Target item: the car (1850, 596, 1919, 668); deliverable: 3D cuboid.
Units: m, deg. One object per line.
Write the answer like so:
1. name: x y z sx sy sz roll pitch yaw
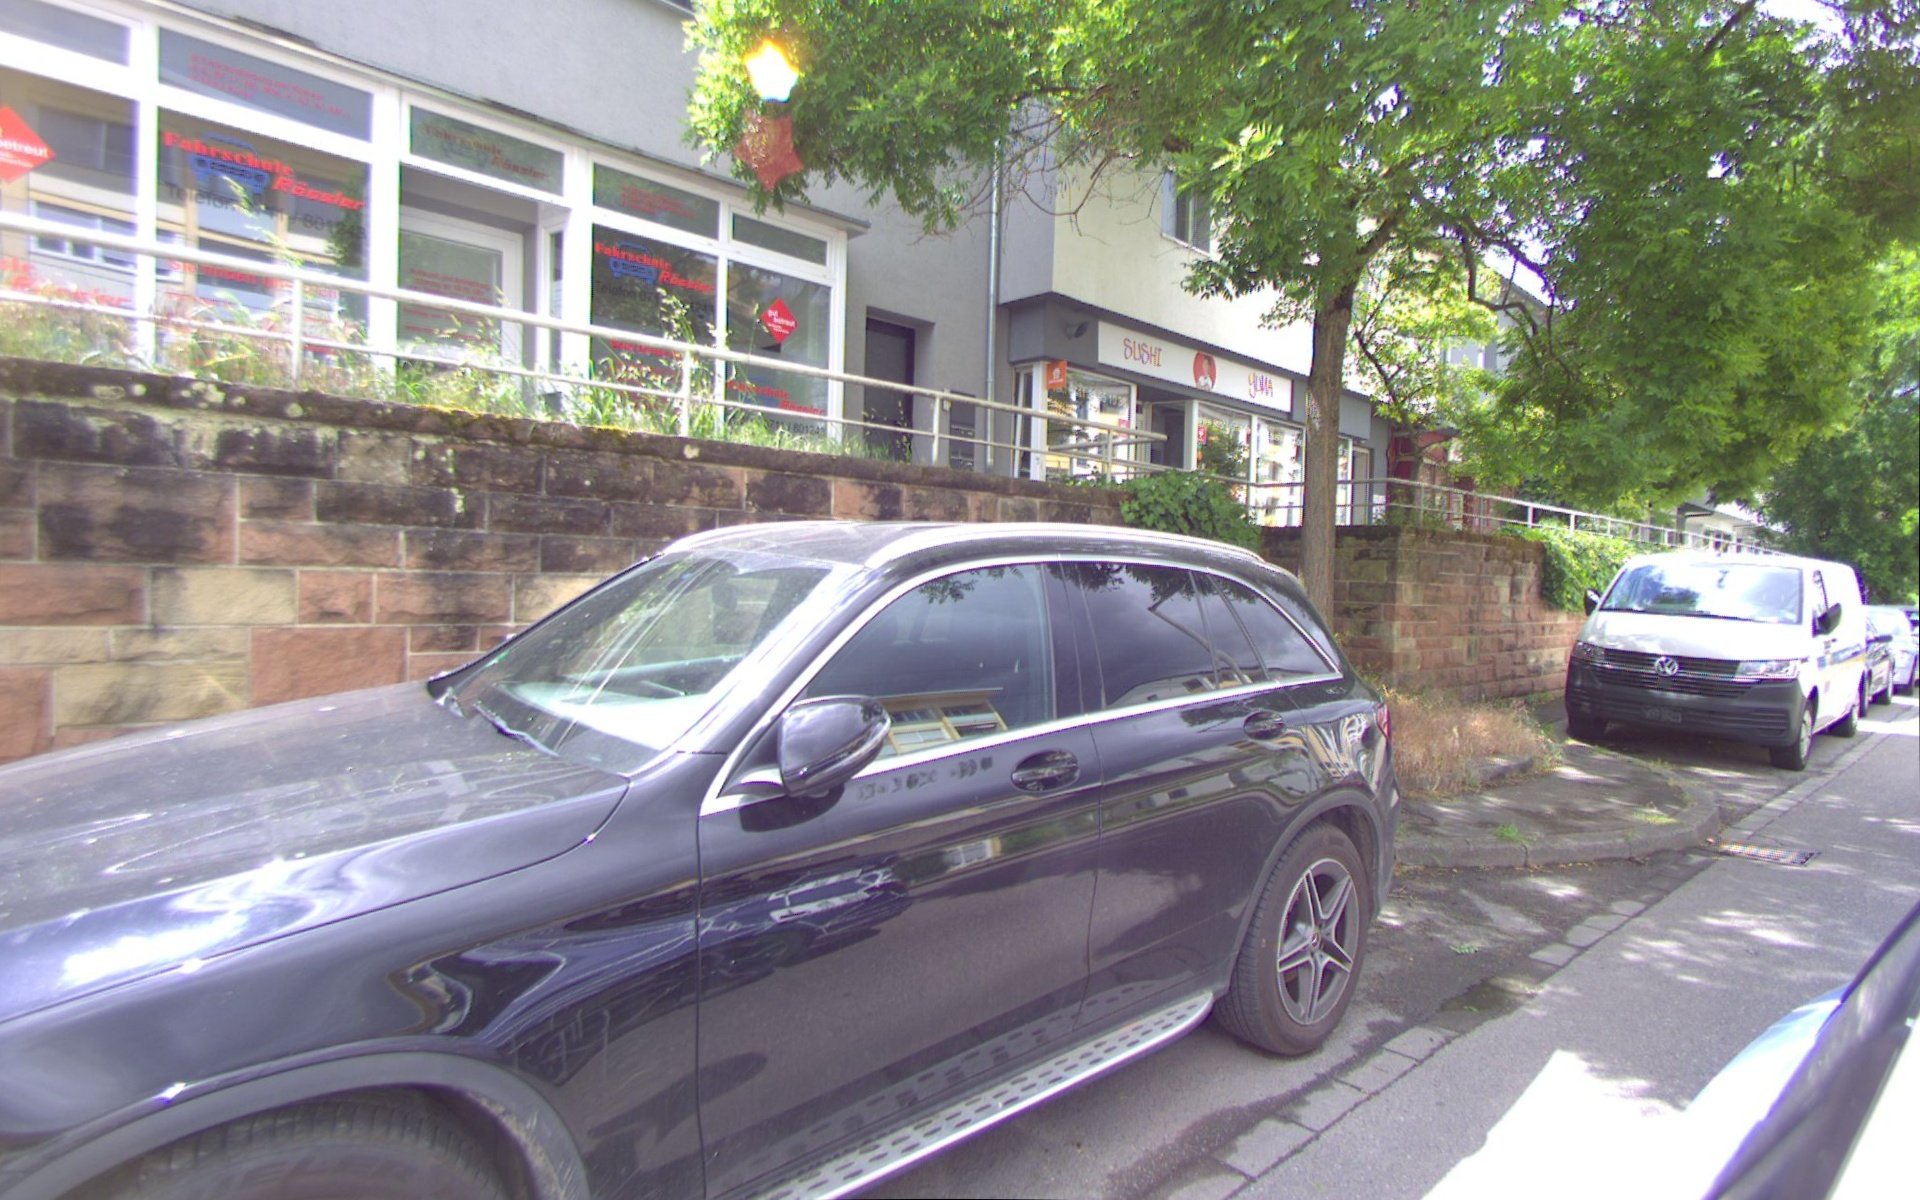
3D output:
1. car: 21.328 0.671 22.489 4.075 1.446 1.784 0 2 -41

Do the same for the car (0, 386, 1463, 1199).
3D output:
1. car: -0.432 0.524 2.896 4.371 1.637 1.793 0 4 -42

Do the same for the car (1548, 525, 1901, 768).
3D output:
1. car: 8.200 0.353 10.658 4.925 1.994 1.977 0 1 -41

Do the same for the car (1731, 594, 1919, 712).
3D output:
1. car: 12.568 0.667 14.594 3.669 1.446 1.577 0 1 -41

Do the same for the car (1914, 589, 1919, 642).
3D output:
1. car: 32.293 0.523 32.761 4.078 1.674 1.817 0 2 -44

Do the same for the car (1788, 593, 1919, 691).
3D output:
1. car: 16.185 0.661 17.939 4.076 1.445 1.783 0 4 -44
